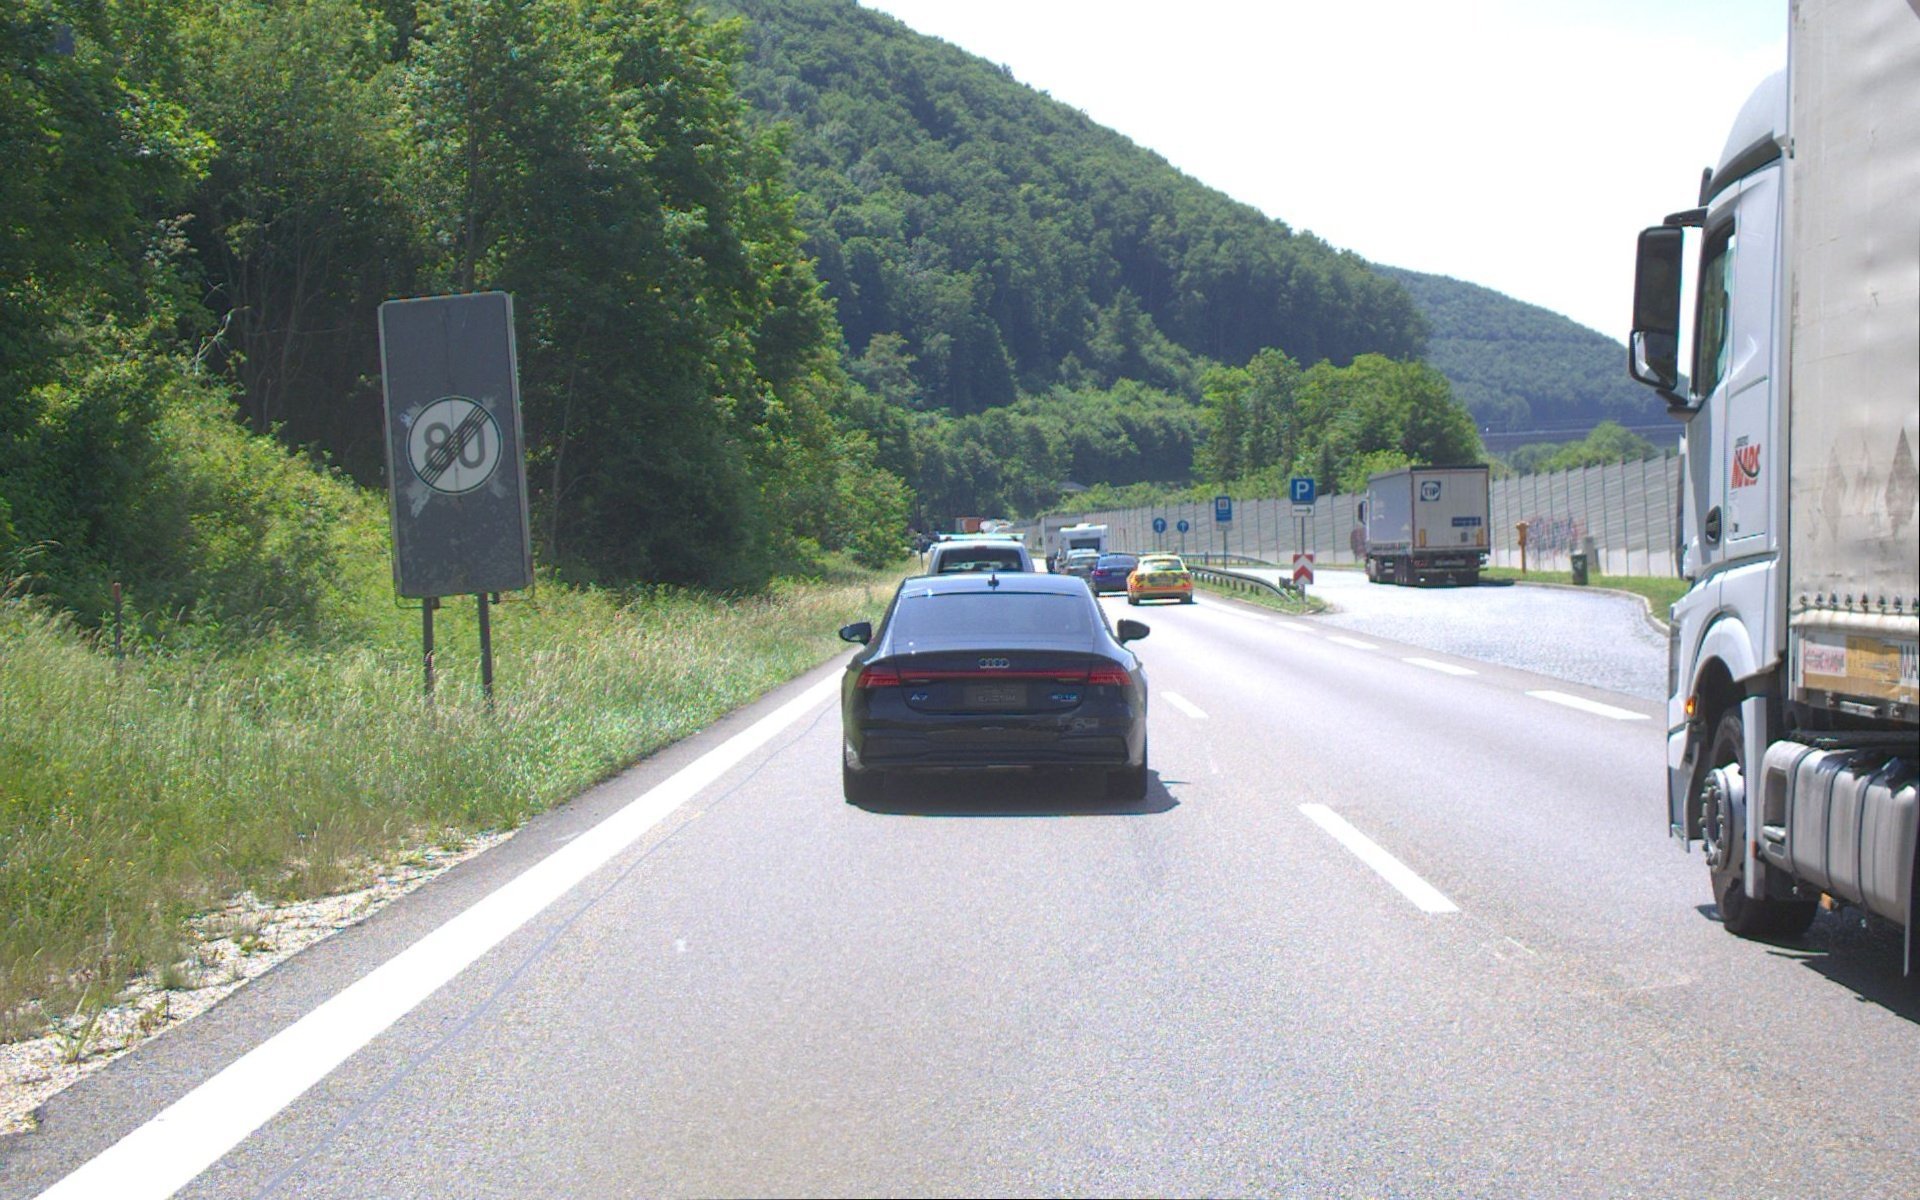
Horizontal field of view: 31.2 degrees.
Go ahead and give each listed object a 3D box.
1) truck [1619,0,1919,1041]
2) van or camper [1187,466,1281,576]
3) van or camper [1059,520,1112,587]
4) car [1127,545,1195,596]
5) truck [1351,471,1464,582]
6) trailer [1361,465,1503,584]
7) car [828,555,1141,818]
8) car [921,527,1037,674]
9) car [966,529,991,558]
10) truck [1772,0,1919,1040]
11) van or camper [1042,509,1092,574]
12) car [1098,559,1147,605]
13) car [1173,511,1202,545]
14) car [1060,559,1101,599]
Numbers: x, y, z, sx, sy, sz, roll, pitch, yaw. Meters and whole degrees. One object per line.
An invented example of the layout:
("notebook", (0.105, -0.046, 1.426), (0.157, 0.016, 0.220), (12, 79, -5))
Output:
("truck", (4.325, -0.657, 12.474), (2.719, 4.054, 5.754), (1, 0, 0))
("van or camper", (10.069, -2.861, 126.915), (2.794, 3.828, 6.167), (1, 0, -1))
("van or camper", (6.161, -2.239, 168.940), (2.429, 3.144, 5.203), (1, 0, 1))
("car", (5.989, -0.868, 102.598), (1.879, 1.493, 4.000), (0, 0, 1))
("truck", (16.049, -2.625, 123.581), (3.411, 3.887, 5.387), (0, 1, 1))
("trailer", (16.010, -2.526, 117.384), (3.411, 3.887, 11.151), (0, 1, 1))
("car", (0.159, 0.487, 21.939), (1.812, 1.509, 3.514), (-1, 1, 1))
("car", (0.268, 0.001, 49.061), (1.521, 1.961, 3.514), (2, 0, 0))
("car", (1.265, -3.887, 238.347), (1.687, 2.007, 4.000), (0, 1, 0))
("truck", (4.319, -0.669, 5.590), (2.726, 4.054, 13.741), (1, 0, 0))
("van or camper", (6.757, -3.673, 217.818), (2.794, 3.894, 6.167), (1, 0, -1))
("car", (5.581, -0.619, 118.182), (1.530, 1.520, 3.596), (1, 0, 1))
("car", (13.638, -4.325, 206.447), (1.576, 2.007, 3.428), (-1, 1, 1))
("car", (4.823, -0.828, 137.752), (1.530, 1.520, 3.596), (1, 0, 1))
